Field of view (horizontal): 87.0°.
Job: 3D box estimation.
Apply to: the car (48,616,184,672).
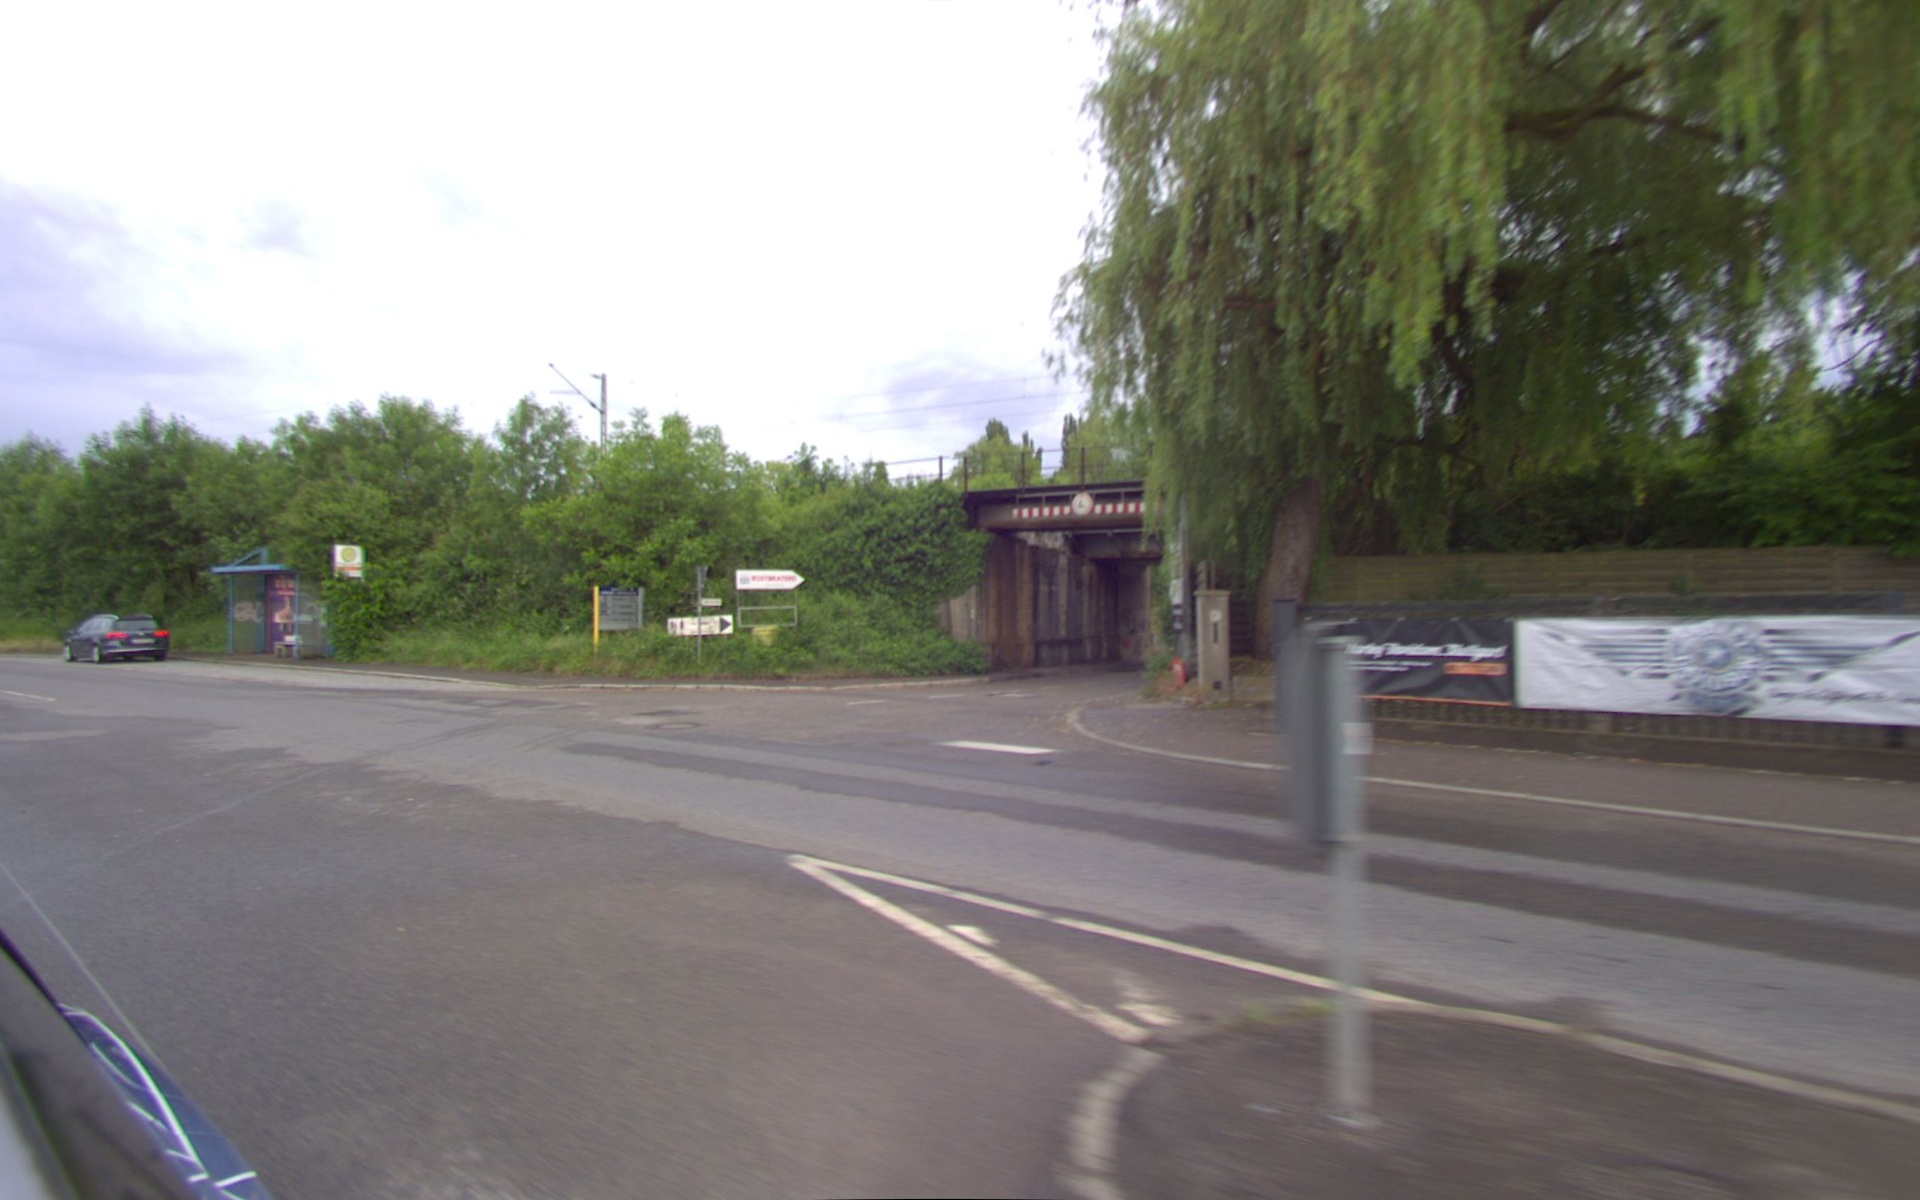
[{"bbox_3d":[-27.099,1.355,32.474,4.685,1.485,1.979,1,3,32],"label":"car"}]
